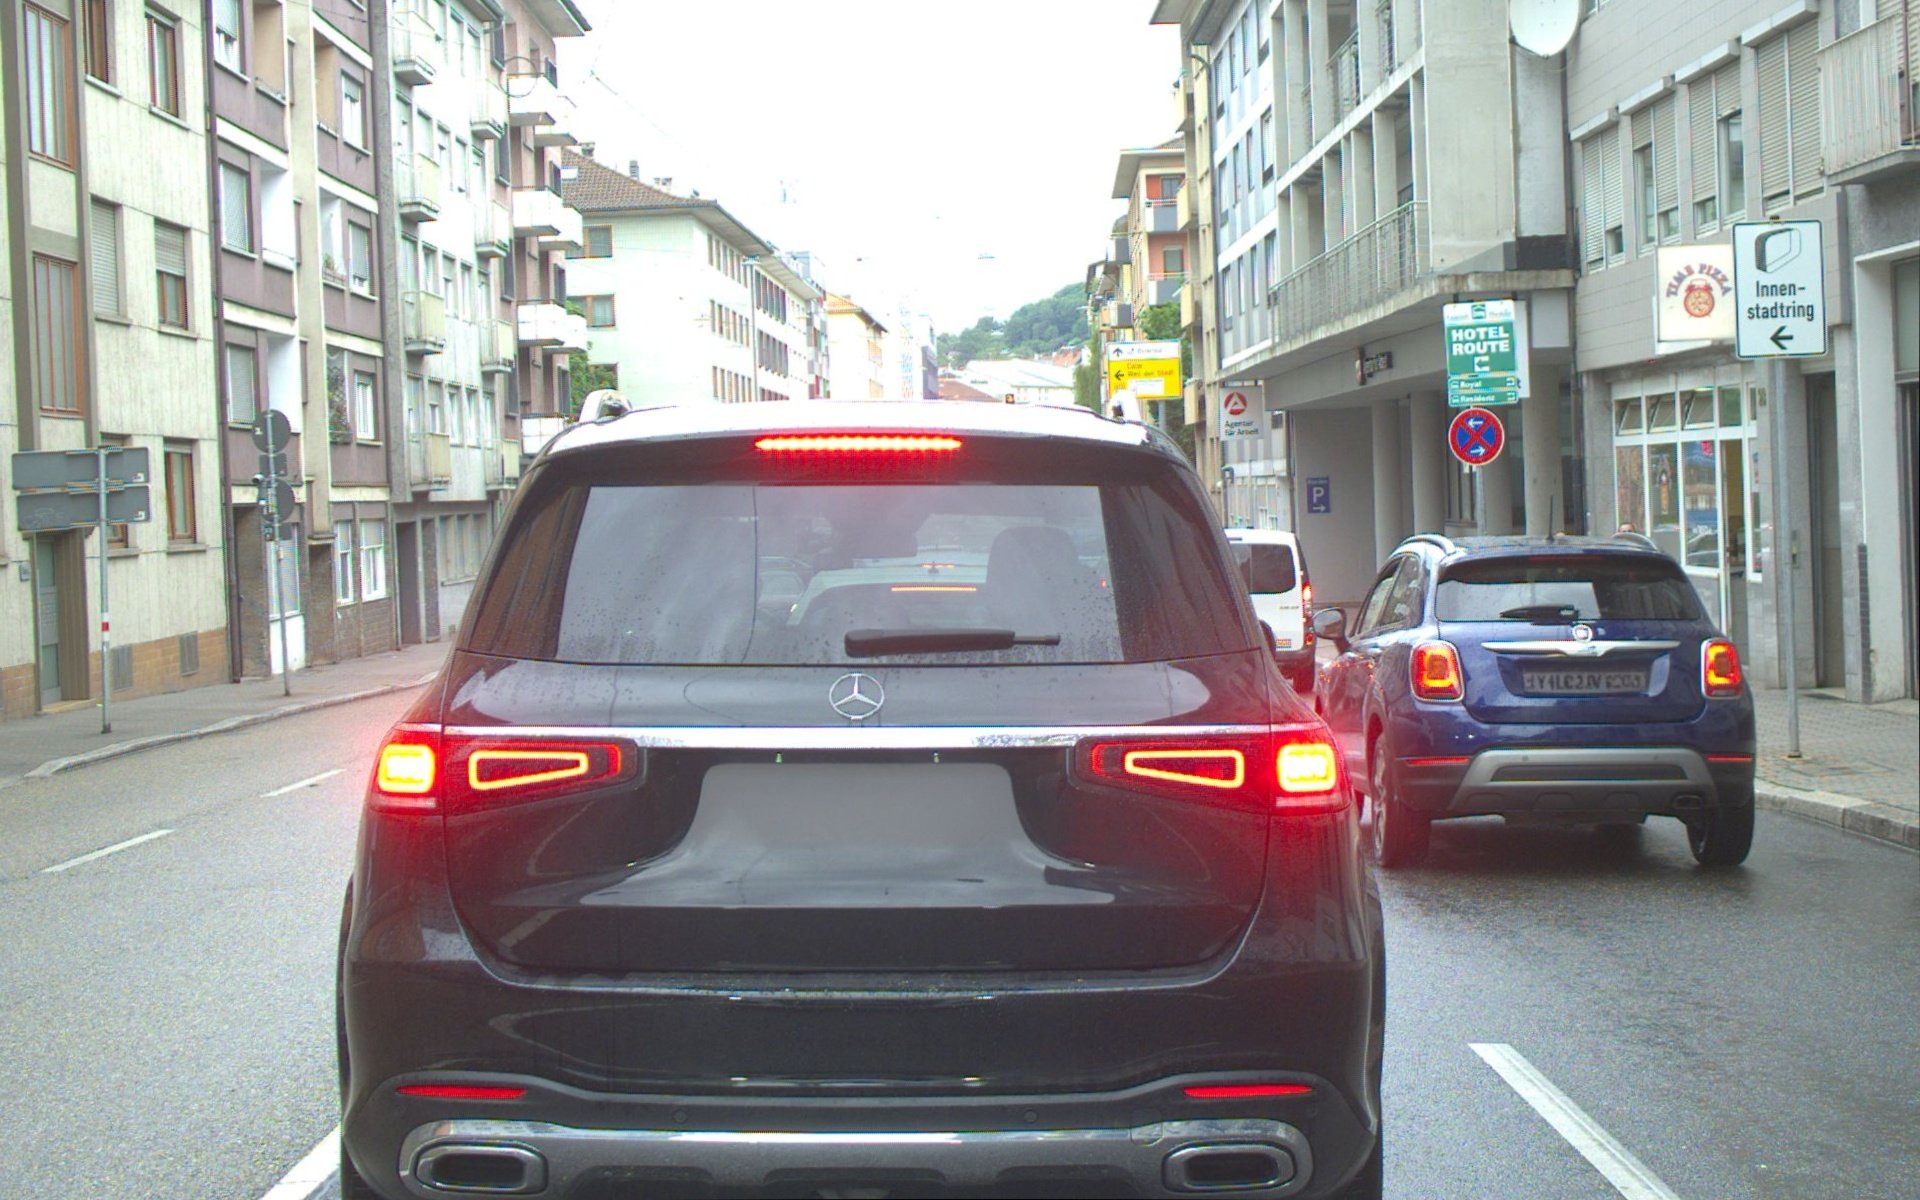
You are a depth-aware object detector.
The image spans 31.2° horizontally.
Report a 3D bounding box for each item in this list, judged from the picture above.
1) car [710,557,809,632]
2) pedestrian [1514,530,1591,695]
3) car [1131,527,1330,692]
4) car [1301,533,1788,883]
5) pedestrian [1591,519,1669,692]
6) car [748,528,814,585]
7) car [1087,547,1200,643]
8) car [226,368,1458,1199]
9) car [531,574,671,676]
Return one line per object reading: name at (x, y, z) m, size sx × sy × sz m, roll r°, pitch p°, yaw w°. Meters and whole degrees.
car at (-4.036, -0.135, 69.696) m, size 1.724 × 1.385 × 4.339 m, roll -3°, pitch 1°, yaw -1°
pedestrian at (5.551, 0.113, 32.241) m, size 0.506 × 1.495 × 0.562 m, roll -4°, pitch 1°, yaw -2°
car at (3.021, 0.066, 39.308) m, size 1.940 × 1.769 × 4.746 m, roll 0°, pitch 1°, yaw 0°
car at (2.863, 0.459, 17.663) m, size 1.767 × 1.575 × 4.000 m, roll -1°, pitch 1°, yaw -1°
pedestrian at (6.269, 0.048, 32.196) m, size 0.560 × 1.573 × 0.526 m, roll -4°, pitch 1°, yaw 6°
car at (-5.394, -1.319, 103.996) m, size 1.732 × 1.570 × 4.012 m, roll -5°, pitch 1°, yaw -1°
car at (3.122, -0.115, 59.113) m, size 1.808 × 1.600 × 4.212 m, roll 0°, pitch 1°, yaw 1°
car at (-0.238, 0.498, 7.716) m, size 2.025 × 1.799 × 4.000 m, roll 1°, pitch 1°, yaw -1°
car at (-5.546, 0.360, 53.540) m, size 1.767 × 1.341 × 3.889 m, roll -5°, pitch 1°, yaw -1°
